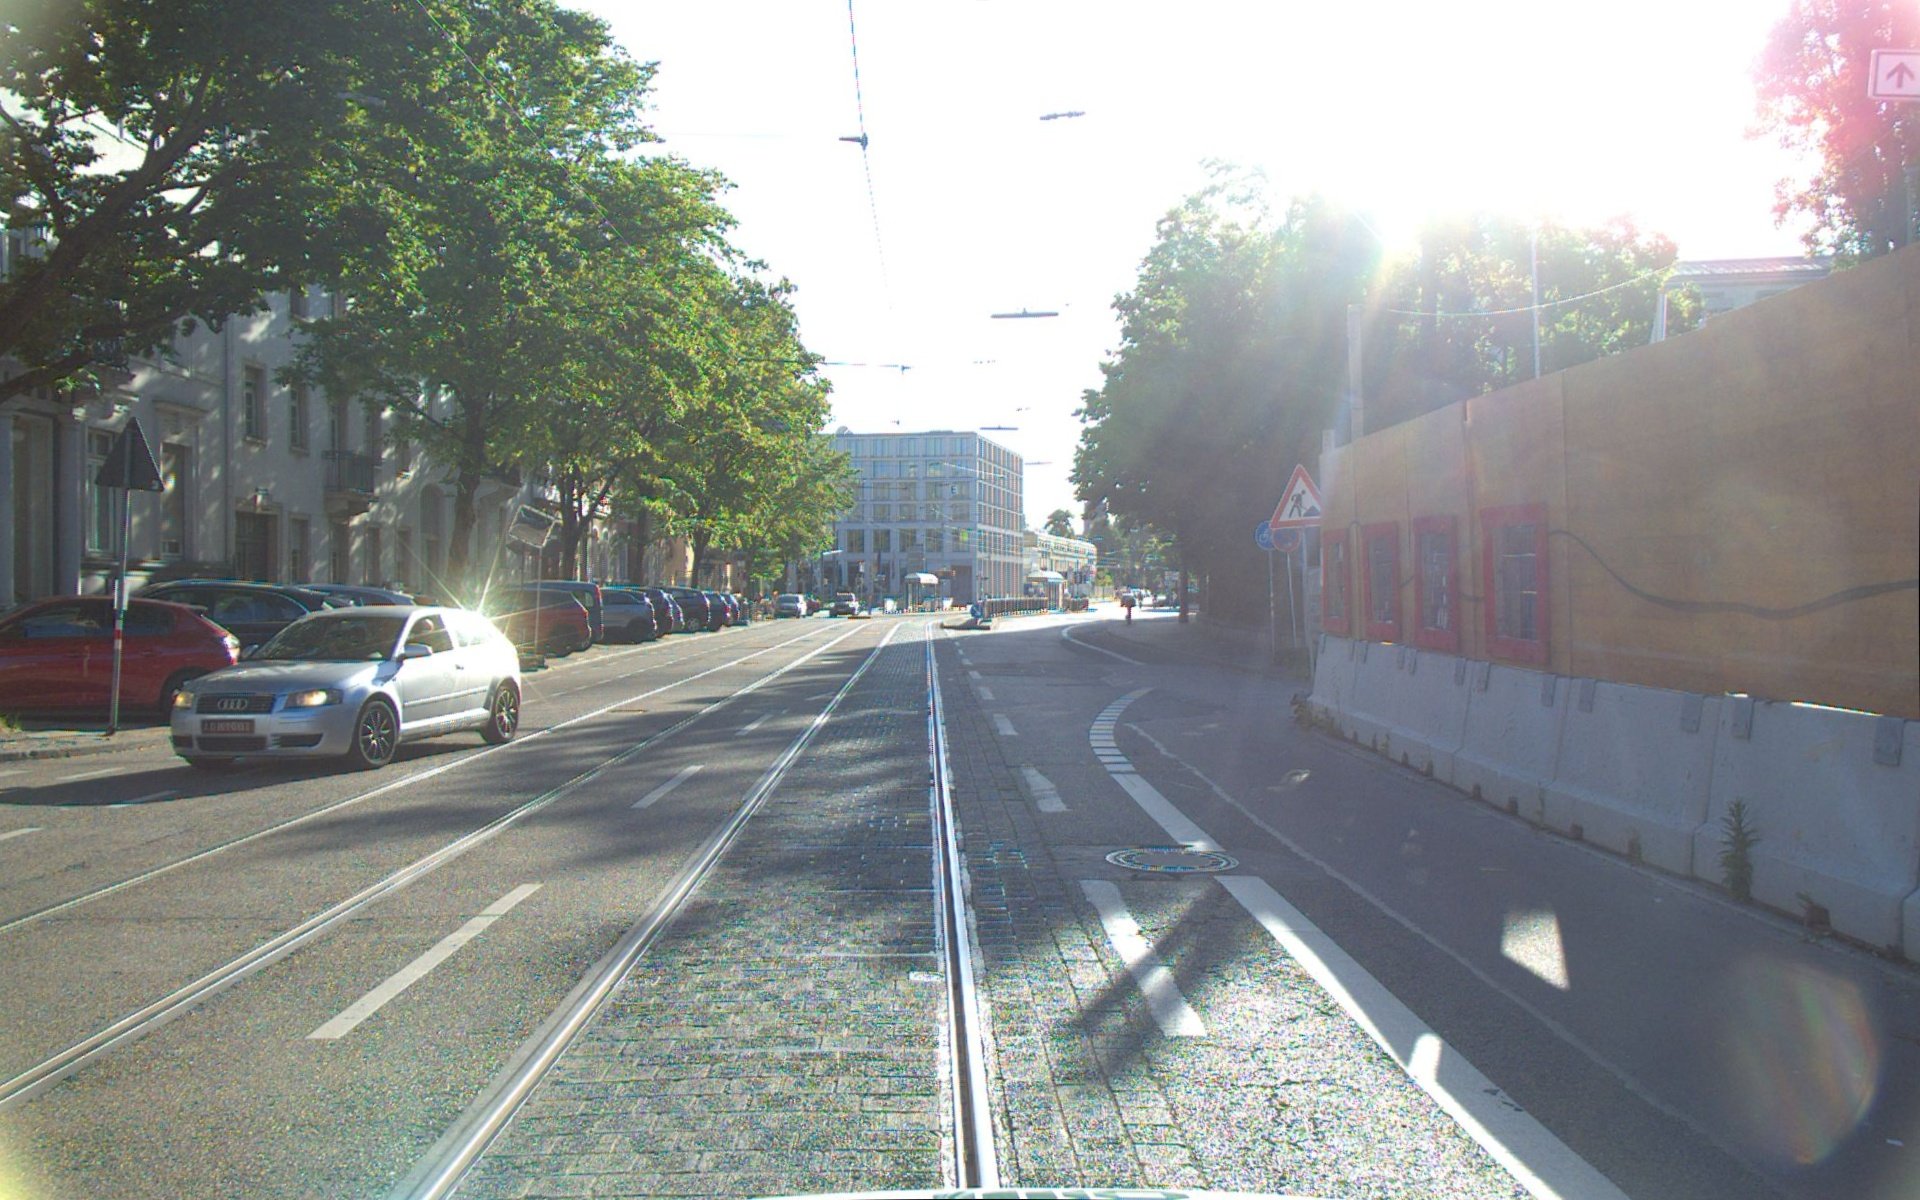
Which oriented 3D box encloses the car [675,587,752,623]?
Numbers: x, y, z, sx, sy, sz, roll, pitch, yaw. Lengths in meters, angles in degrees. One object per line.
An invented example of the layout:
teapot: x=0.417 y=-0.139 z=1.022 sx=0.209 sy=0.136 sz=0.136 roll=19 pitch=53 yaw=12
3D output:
car: x=-11.241 y=0.206 z=75.527 sx=3.227 sy=1.613 sz=1.460 roll=0 pitch=0 yaw=-24

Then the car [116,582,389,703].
car: x=-10.564 y=0.591 z=24.765 sx=3.524 sy=1.691 sz=1.717 roll=0 pitch=0 yaw=-35

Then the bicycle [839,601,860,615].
bicycle: x=-9.422 y=0.671 z=140.631 sx=1.760 sy=1.245 sz=0.598 roll=0 pitch=0 yaw=-10

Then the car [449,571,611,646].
car: x=-11.329 y=0.244 z=43.596 sx=3.790 sy=1.864 sz=1.713 roll=2 pitch=-1 yaw=-32

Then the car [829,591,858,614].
car: x=-7.988 y=0.165 z=113.879 sx=1.525 sy=1.557 sz=4.002 roll=0 pitch=0 yaw=3

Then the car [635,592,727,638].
car: x=-10.711 y=0.577 z=63.510 sx=3.227 sy=1.728 sz=1.459 roll=0 pitch=0 yaw=-24

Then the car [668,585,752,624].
car: x=-10.434 y=0.190 z=68.991 sx=3.227 sy=1.613 sz=1.459 roll=0 pitch=0 yaw=-24

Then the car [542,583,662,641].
car: x=-10.873 y=0.367 z=50.238 sx=3.336 sy=1.727 sz=1.392 roll=0 pitch=0 yaw=-29

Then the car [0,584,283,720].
car: x=-10.125 y=0.590 z=19.282 sx=3.868 sy=1.478 sz=1.618 roll=2 pitch=-1 yaw=-35

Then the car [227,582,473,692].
car: x=-10.290 y=0.578 z=27.997 sx=3.646 sy=1.751 sz=1.591 roll=0 pitch=0 yaw=-37

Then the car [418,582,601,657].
car: x=-11.026 y=0.463 z=40.533 sx=4.113 sy=1.751 sz=1.569 roll=0 pitch=0 yaw=-29

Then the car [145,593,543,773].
car: x=-5.634 y=0.674 z=15.748 sx=1.673 sy=1.461 sz=4.175 roll=0 pitch=0 yaw=10

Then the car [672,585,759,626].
car: x=-9.916 y=0.208 z=67.039 sx=3.227 sy=1.613 sz=1.459 roll=0 pitch=0 yaw=-24

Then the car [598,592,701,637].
car: x=-10.577 y=0.476 z=56.332 sx=3.227 sy=1.510 sz=1.459 roll=0 pitch=0 yaw=-24

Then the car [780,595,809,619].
car: x=-10.701 y=0.419 z=106.932 sx=1.541 sy=1.516 sz=3.999 roll=0 pitch=0 yaw=-1

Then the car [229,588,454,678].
car: x=-11.400 y=0.566 z=30.573 sx=3.646 sy=1.554 sz=1.464 roll=0 pitch=0 yaw=-37

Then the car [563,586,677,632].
car: x=-10.926 y=0.291 z=53.195 sx=3.336 sy=1.444 sz=1.392 roll=0 pitch=0 yaw=-29

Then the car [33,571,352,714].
car: x=-10.175 y=0.506 z=22.022 sx=3.646 sy=1.751 sz=1.591 roll=0 pitch=0 yaw=-37

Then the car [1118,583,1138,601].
car: x=19.425 y=-0.893 z=191.343 sx=1.951 sy=2.049 sz=4.004 roll=0 pitch=0 yaw=10
